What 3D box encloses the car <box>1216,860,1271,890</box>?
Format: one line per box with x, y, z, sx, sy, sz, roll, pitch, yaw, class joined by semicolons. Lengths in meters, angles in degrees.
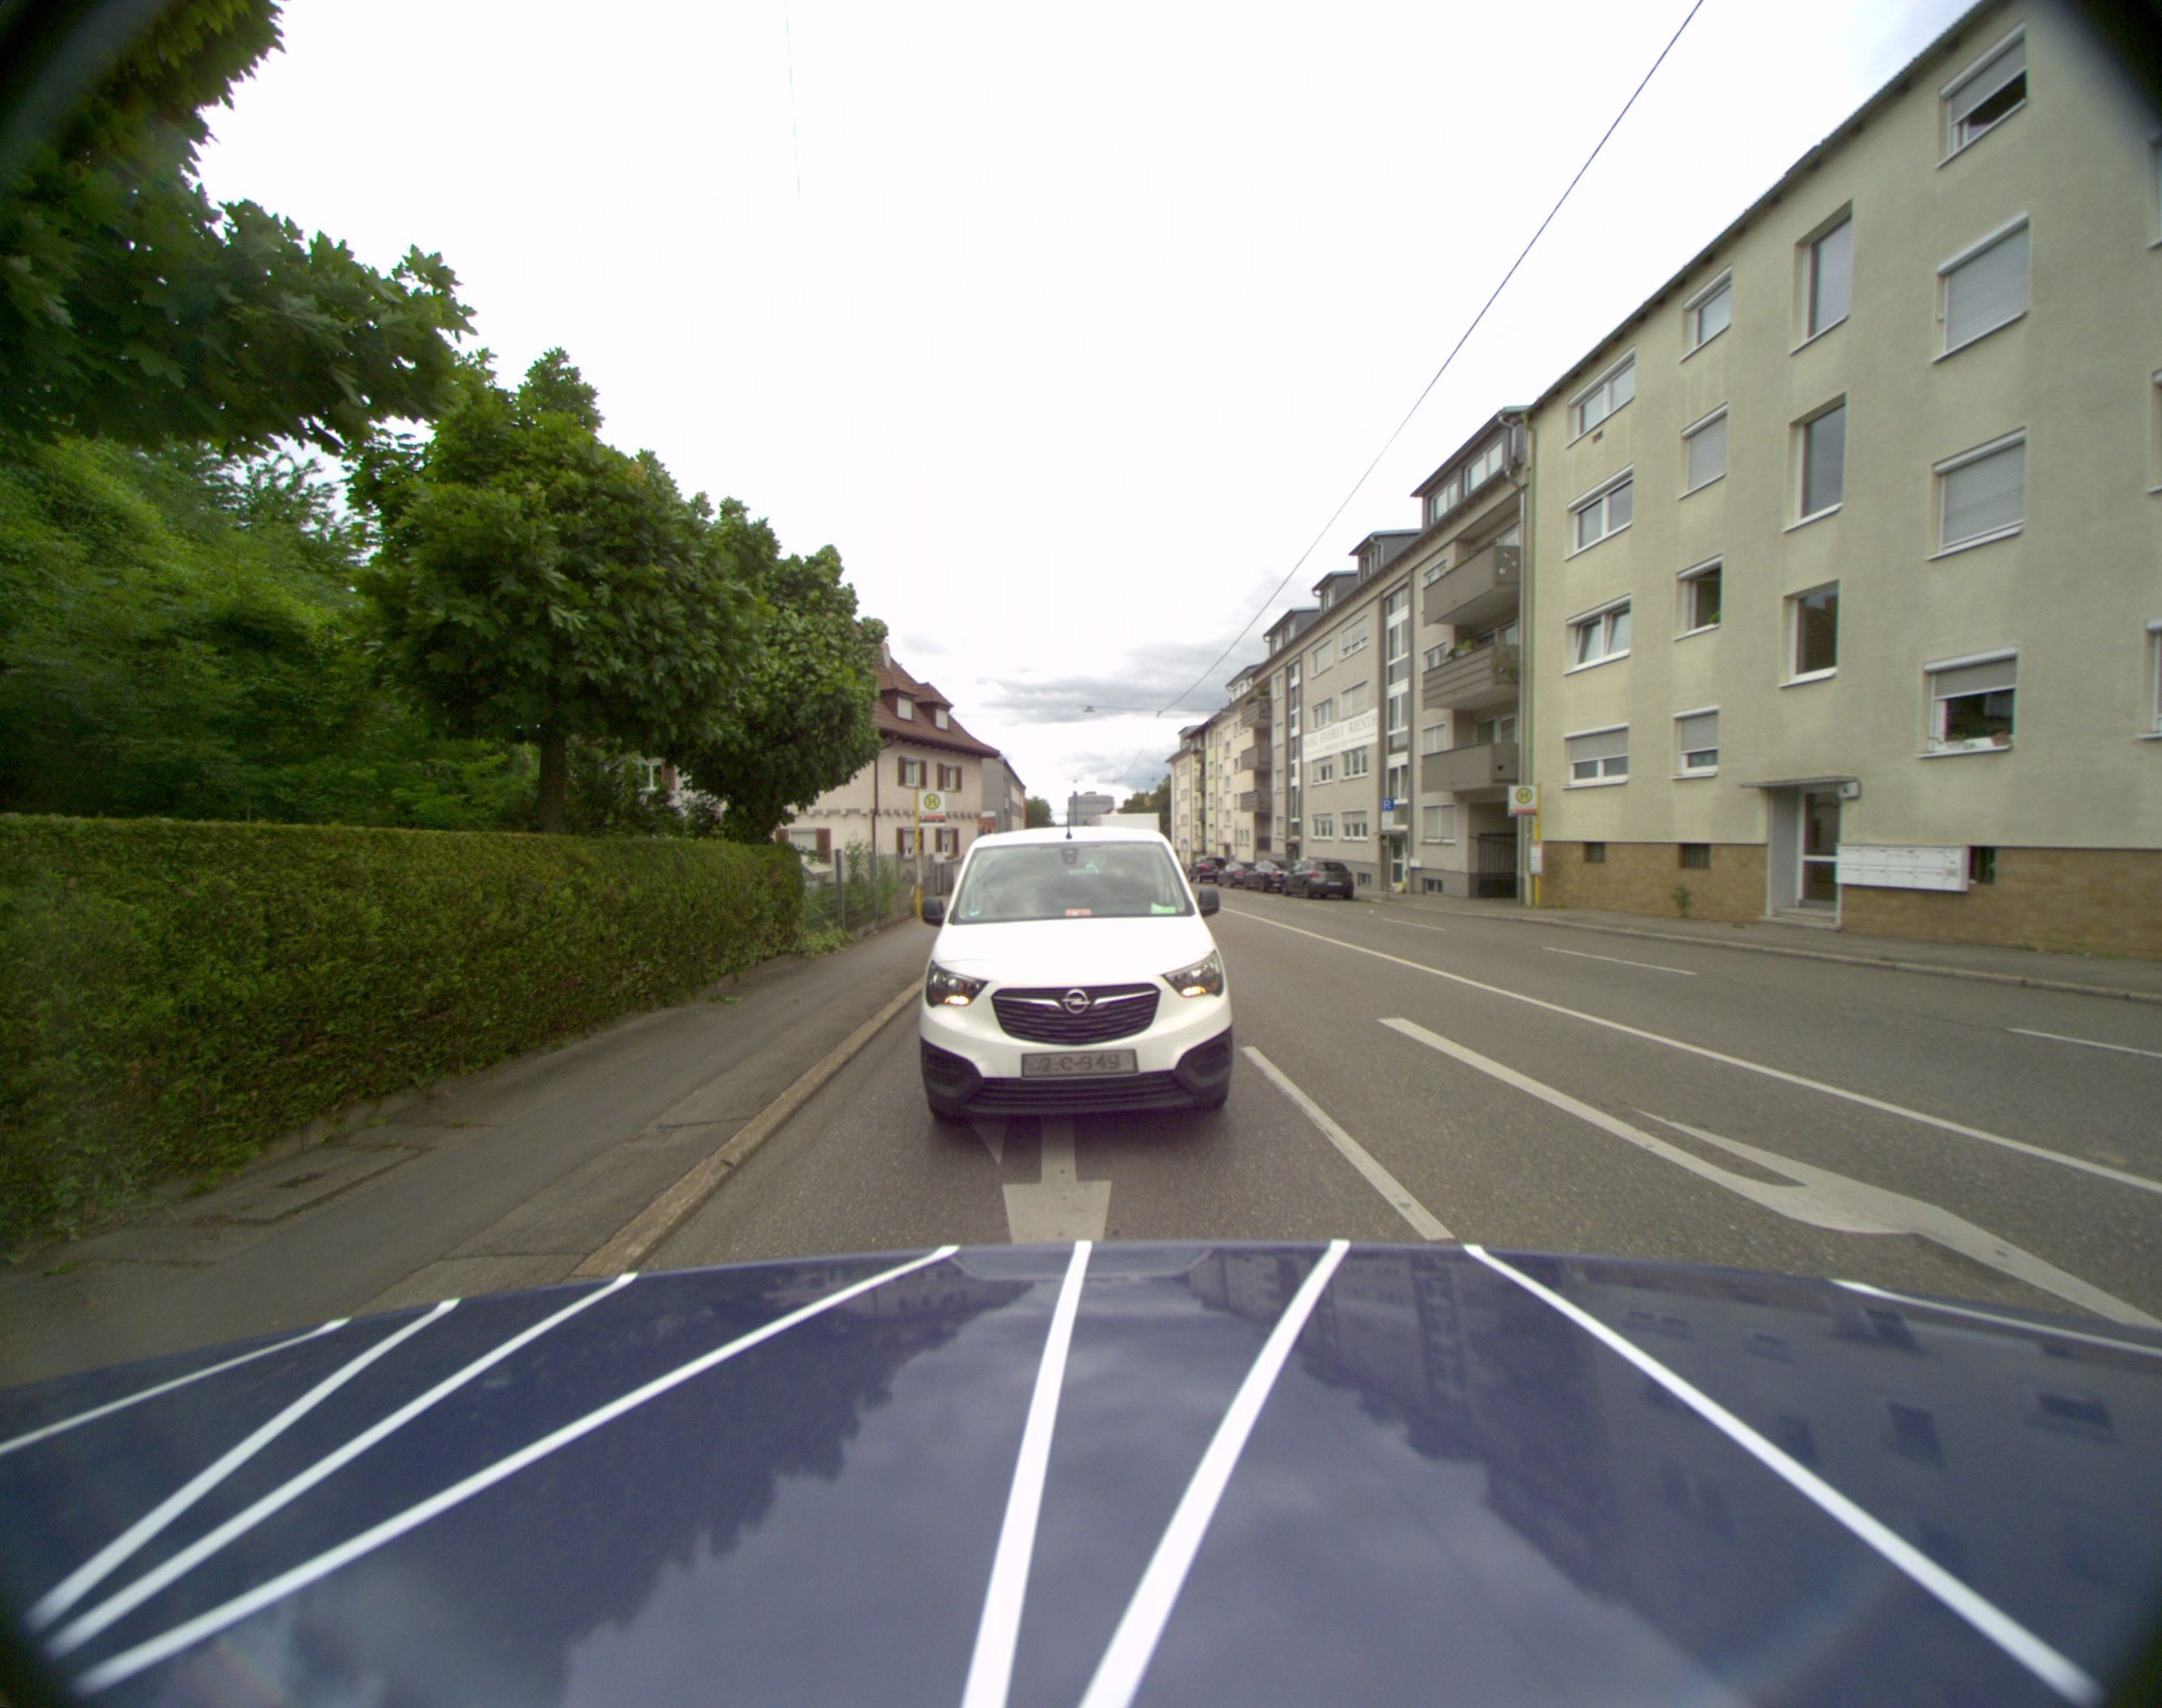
8.452;1.047;39.912;1.773;1.397;4.306;1;0;-2;car

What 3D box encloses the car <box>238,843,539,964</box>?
-13.154;0.804;14.640;1.994;2.002;4.008;-1;0;40;car

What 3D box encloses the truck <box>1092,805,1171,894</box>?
2.131;-0.147;35.068;2.776;3.554;8.063;-2;0;-2;truck

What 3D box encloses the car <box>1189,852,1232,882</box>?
8.326;0.809;49.116;1.875;1.743;4.306;1;0;-2;car

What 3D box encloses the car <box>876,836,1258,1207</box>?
-0.124;0.804;5.738;1.803;1.736;3.999;-3;1;-2;car

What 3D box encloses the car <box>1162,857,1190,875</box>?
8.188;1.031;66.002;1.875;1.372;4.307;1;0;0;car

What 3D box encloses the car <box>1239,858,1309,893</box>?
8.647;0.909;34.414;1.773;1.397;4.717;1;0;-2;car

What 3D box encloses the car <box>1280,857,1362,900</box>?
8.980;0.889;28.765;1.773;1.428;3.800;1;0;-2;car
